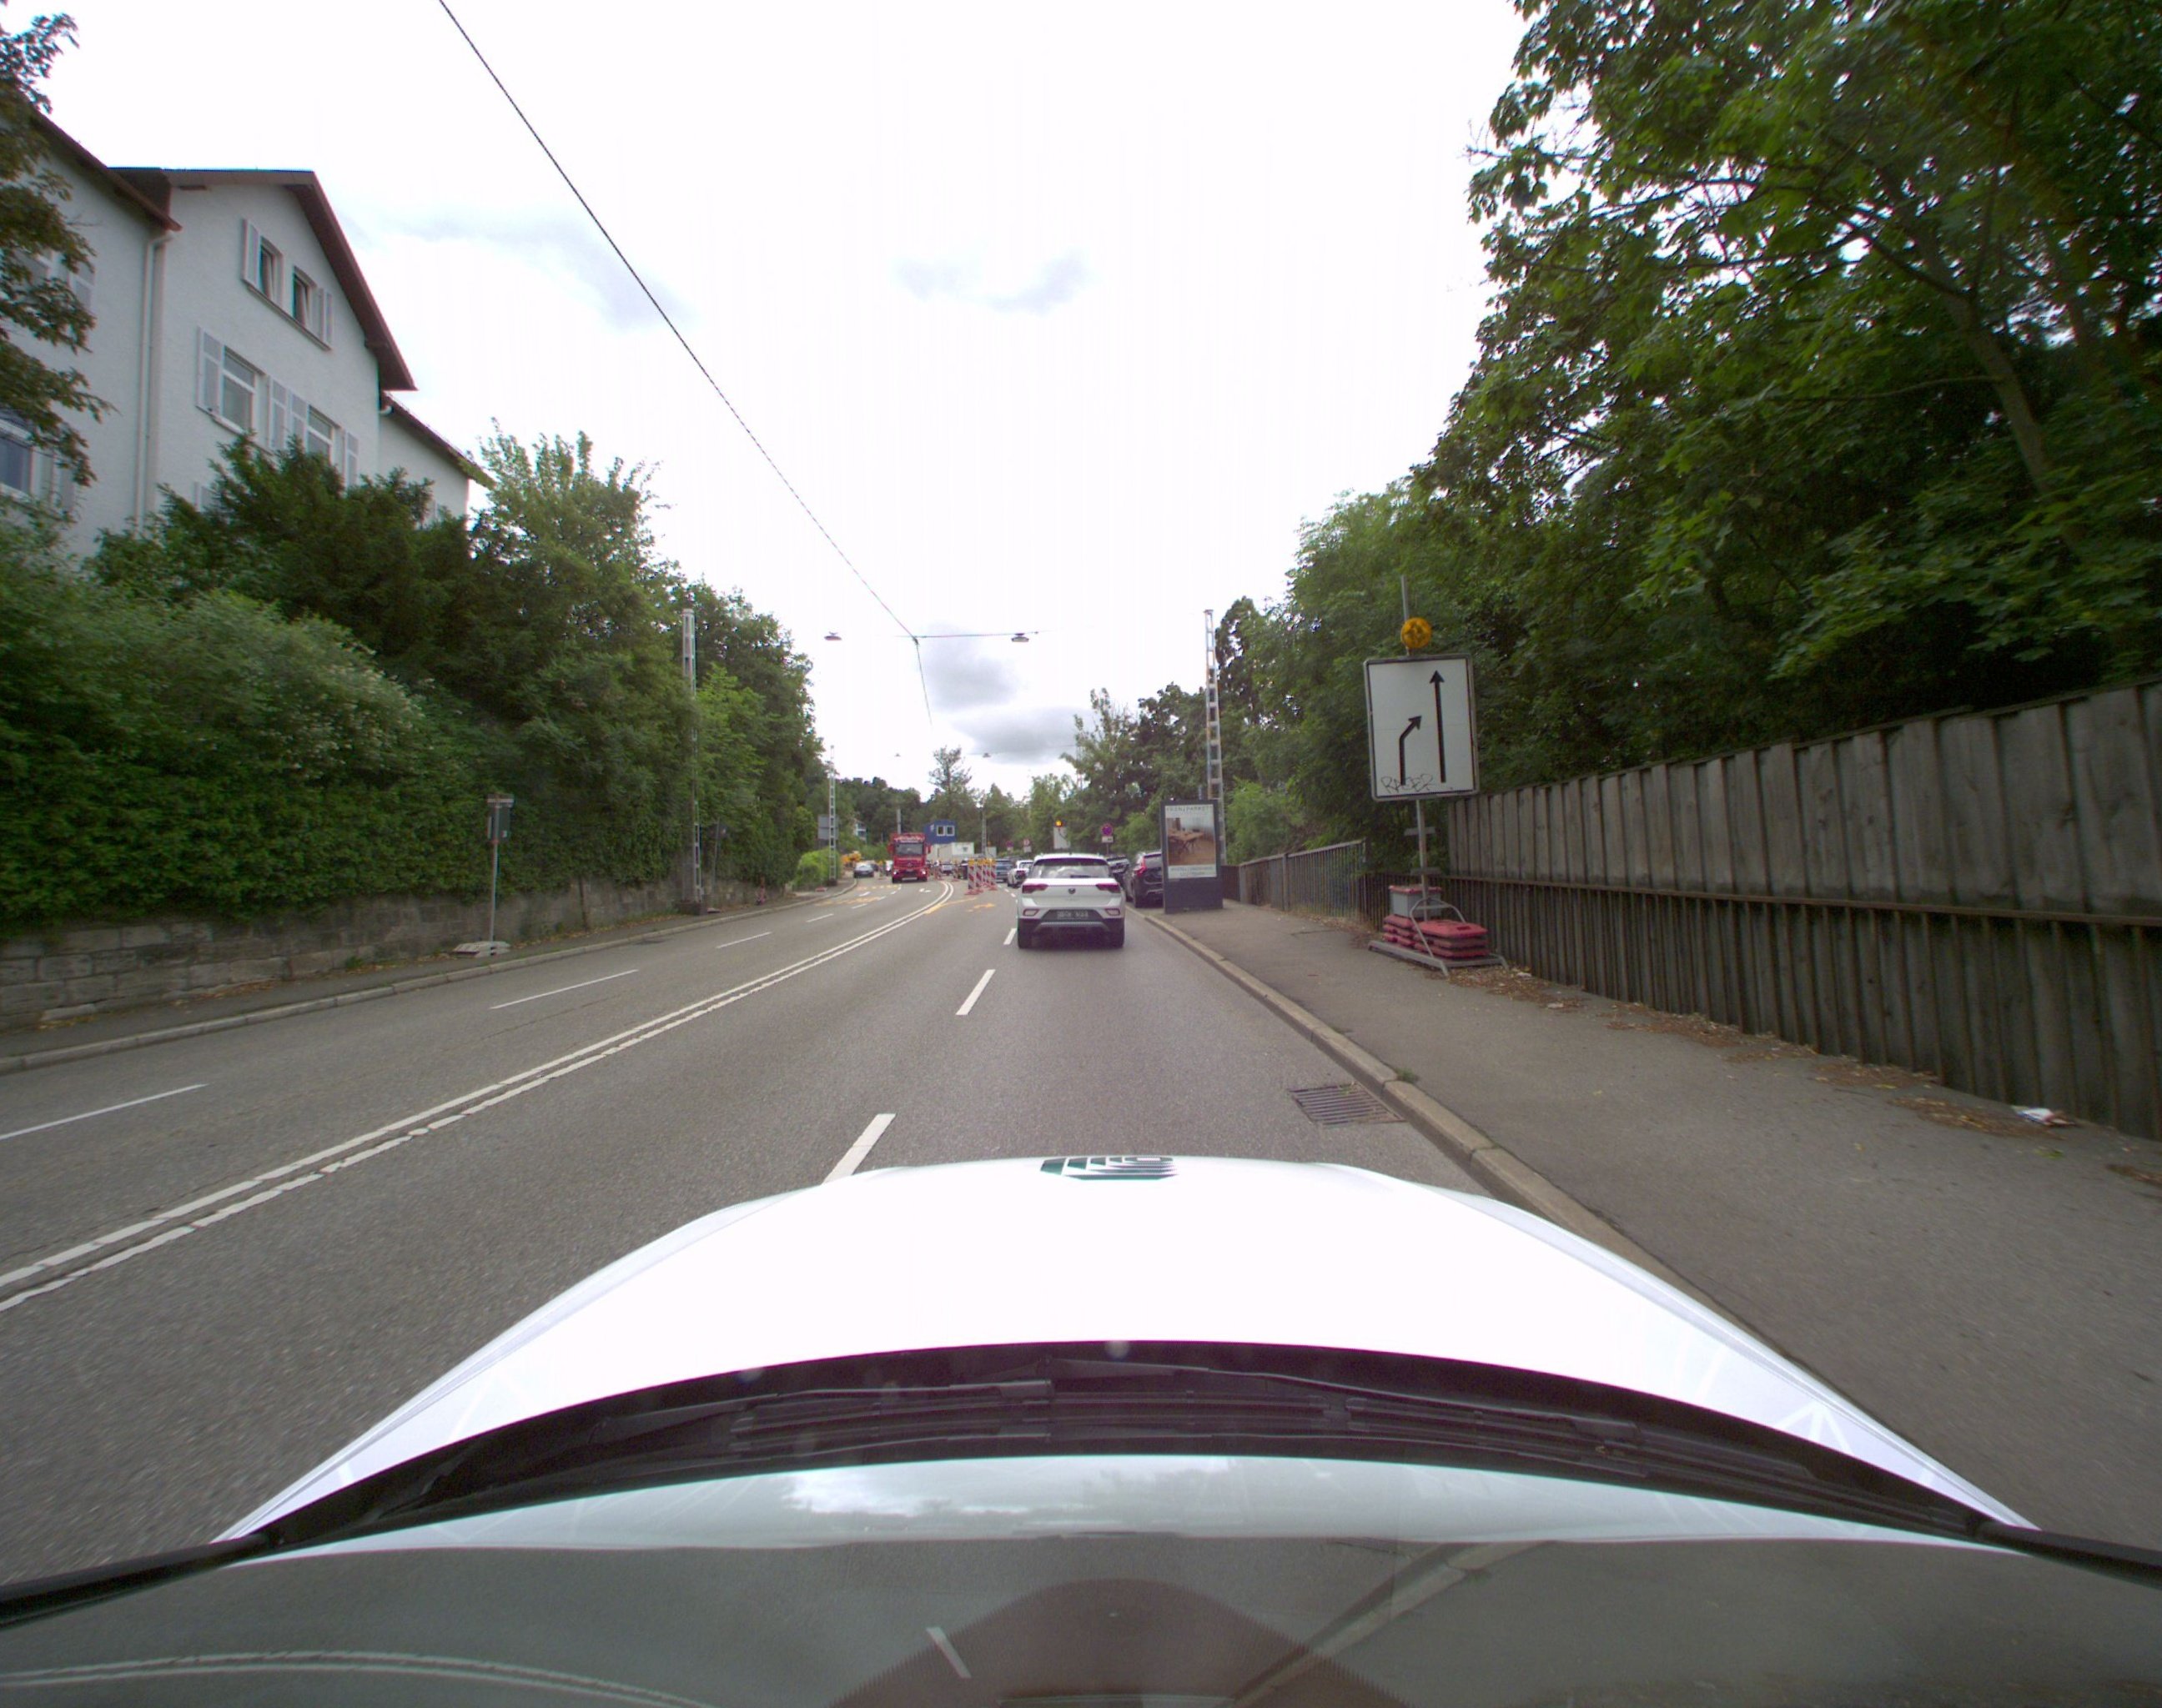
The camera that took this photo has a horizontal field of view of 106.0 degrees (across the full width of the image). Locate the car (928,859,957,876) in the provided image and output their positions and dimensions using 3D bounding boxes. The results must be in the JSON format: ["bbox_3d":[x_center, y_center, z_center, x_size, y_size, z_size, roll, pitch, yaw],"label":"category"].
[{"bbox_3d":[-12.971,1.258,76.129,2.000,1.450,4.123,-3,0,-20],"label":"car"}]

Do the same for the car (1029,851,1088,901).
[{"bbox_3d":[-0.848,0.727,28.623,1.756,1.609,3.787,-1,0,-6],"label":"car"}]

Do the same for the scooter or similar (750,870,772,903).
[{"bbox_3d":[-12.202,1.243,31.120,0.537,1.205,1.275,0,0,-11],"label":"scooter or similar"}]

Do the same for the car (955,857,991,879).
[{"bbox_3d":[-8.311,1.048,62.280,1.999,1.556,4.125,-2,1,-18],"label":"car"}]

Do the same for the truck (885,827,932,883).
[{"bbox_3d":[-13.200,0.093,61.925,2.949,3.697,9.873,-4,0,-13],"label":"truck"}]

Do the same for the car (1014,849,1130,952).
[{"bbox_3d":[-0.213,0.719,14.550,1.753,1.555,3.792,-1,0,-2],"label":"car"}]

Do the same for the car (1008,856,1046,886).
[{"bbox_3d":[-2.895,0.875,43.147,1.756,1.471,3.785,-1,0,-8],"label":"car"}]

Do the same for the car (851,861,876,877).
[{"bbox_3d":[-20.405,1.357,76.232,1.902,1.382,3.974,-2,1,-19],"label":"car"}]

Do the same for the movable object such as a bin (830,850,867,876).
[{"bbox_3d":[-34.565,1.355,120.935,3.554,3.699,7.421,-3,0,-30],"label":"movable object such as a bin"}]

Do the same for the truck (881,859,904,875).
[{"bbox_3d":[-18.252,1.263,78.878,1.667,1.443,4.000,-3,0,-19],"label":"truck"}]

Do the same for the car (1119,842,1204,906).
[{"bbox_3d":[2.253,0.534,23.950,1.761,1.521,4.390,-6,0,-2],"label":"car"}]

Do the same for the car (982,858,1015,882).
[{"bbox_3d":[-5.411,1.054,53.685,1.991,1.414,4.142,-3,-1,-6],"label":"car"}]

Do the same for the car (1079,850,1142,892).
[{"bbox_3d":[1.186,0.694,34.897,1.807,1.463,4.181,-7,1,-9],"label":"car"}]
